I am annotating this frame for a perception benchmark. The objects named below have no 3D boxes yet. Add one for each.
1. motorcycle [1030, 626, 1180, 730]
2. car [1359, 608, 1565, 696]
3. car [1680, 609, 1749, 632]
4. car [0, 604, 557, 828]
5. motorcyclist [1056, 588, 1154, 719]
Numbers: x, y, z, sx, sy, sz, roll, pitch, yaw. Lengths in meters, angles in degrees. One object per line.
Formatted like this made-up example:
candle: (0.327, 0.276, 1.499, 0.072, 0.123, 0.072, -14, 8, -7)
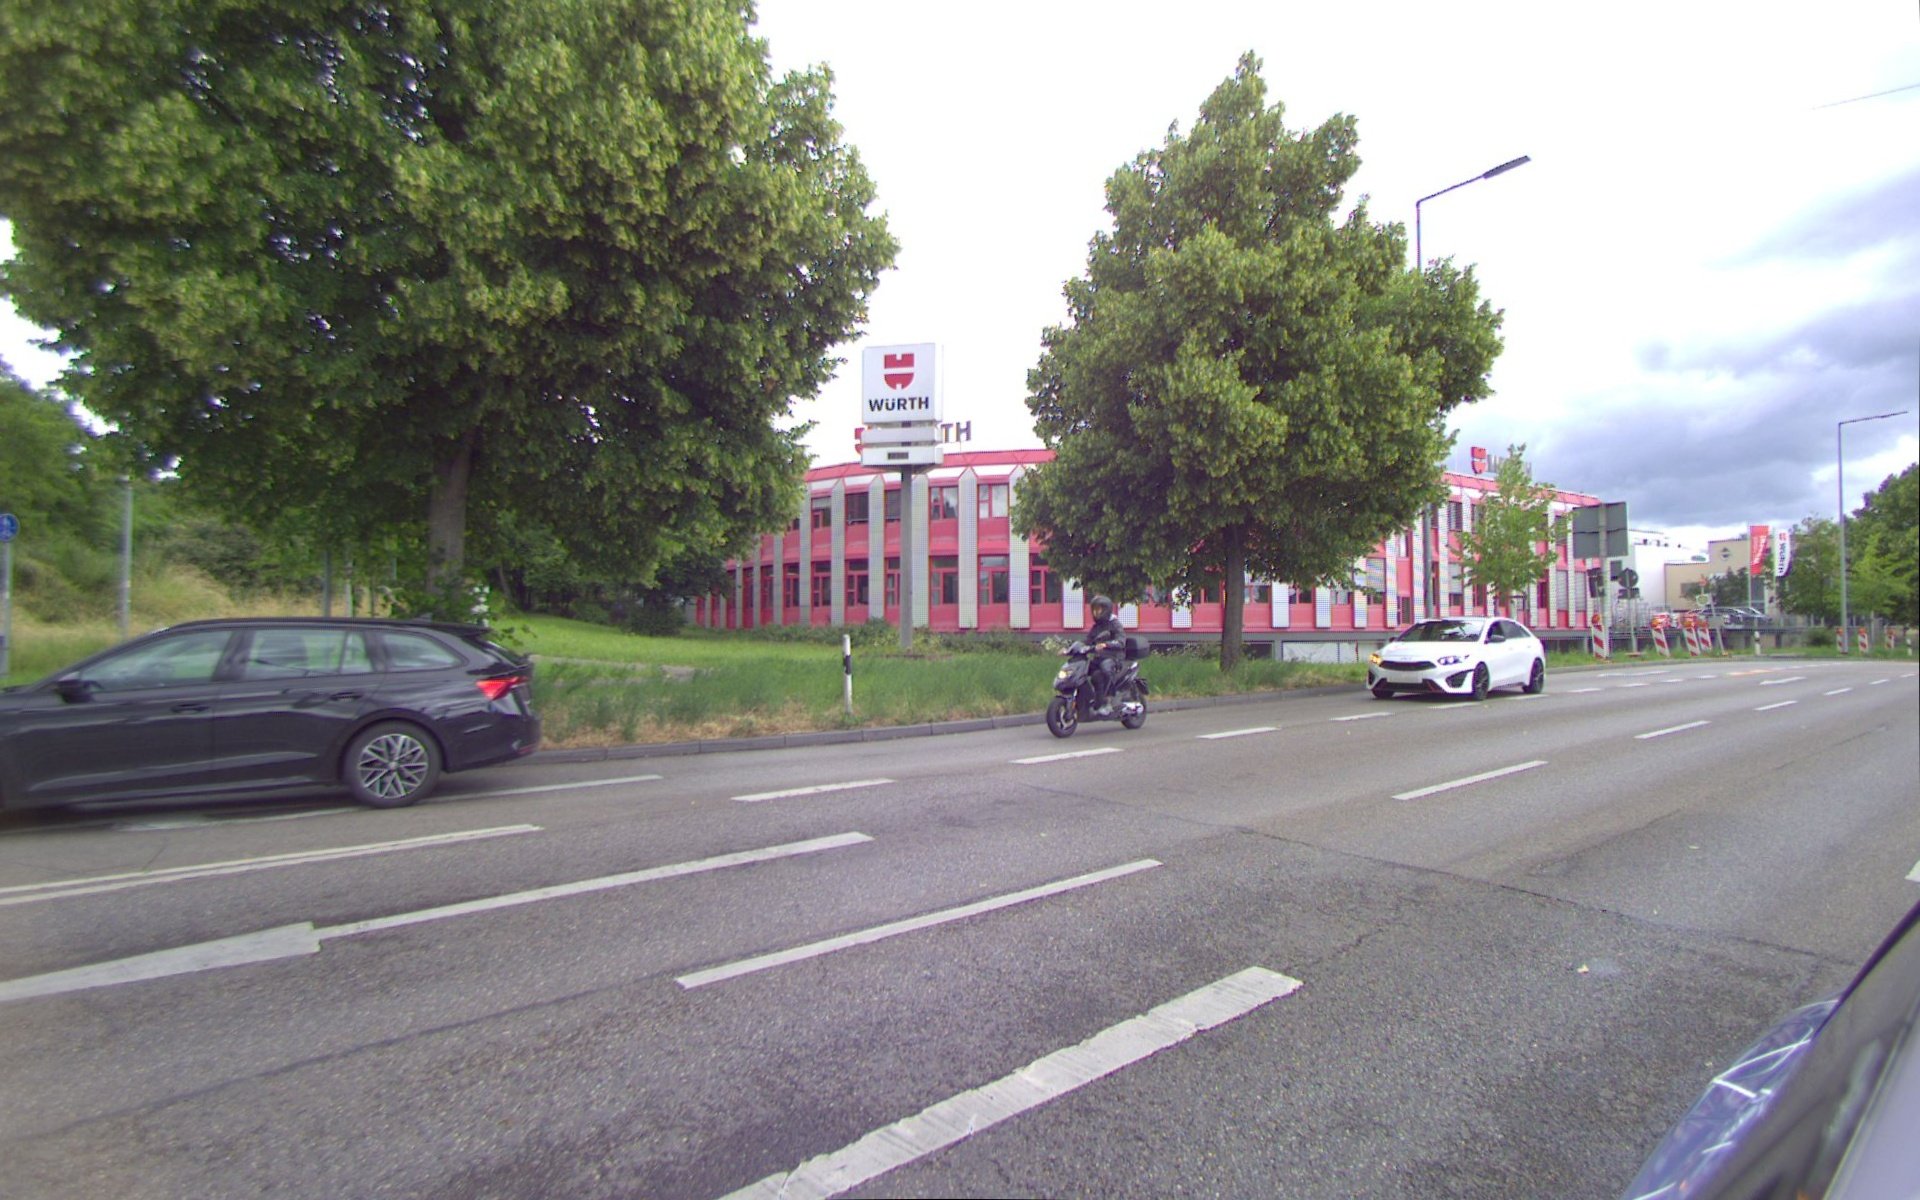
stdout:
motorcycle: (1.774, 0.902, 12.229, 1.909, 1.162, 0.748, 2, -3, -42)
car: (9.031, 0.879, 18.041, 4.402, 1.380, 1.782, 1, -3, -42)
car: (61.803, 1.692, 82.958, 1.752, 1.776, 4.247, 0, 0, -39)
car: (-5.623, 0.782, 7.931, 4.434, 1.465, 1.789, 1, -1, -26)
motorcyclist: (1.746, 0.631, 12.212, 0.917, 1.510, 0.749, 2, -3, -42)
